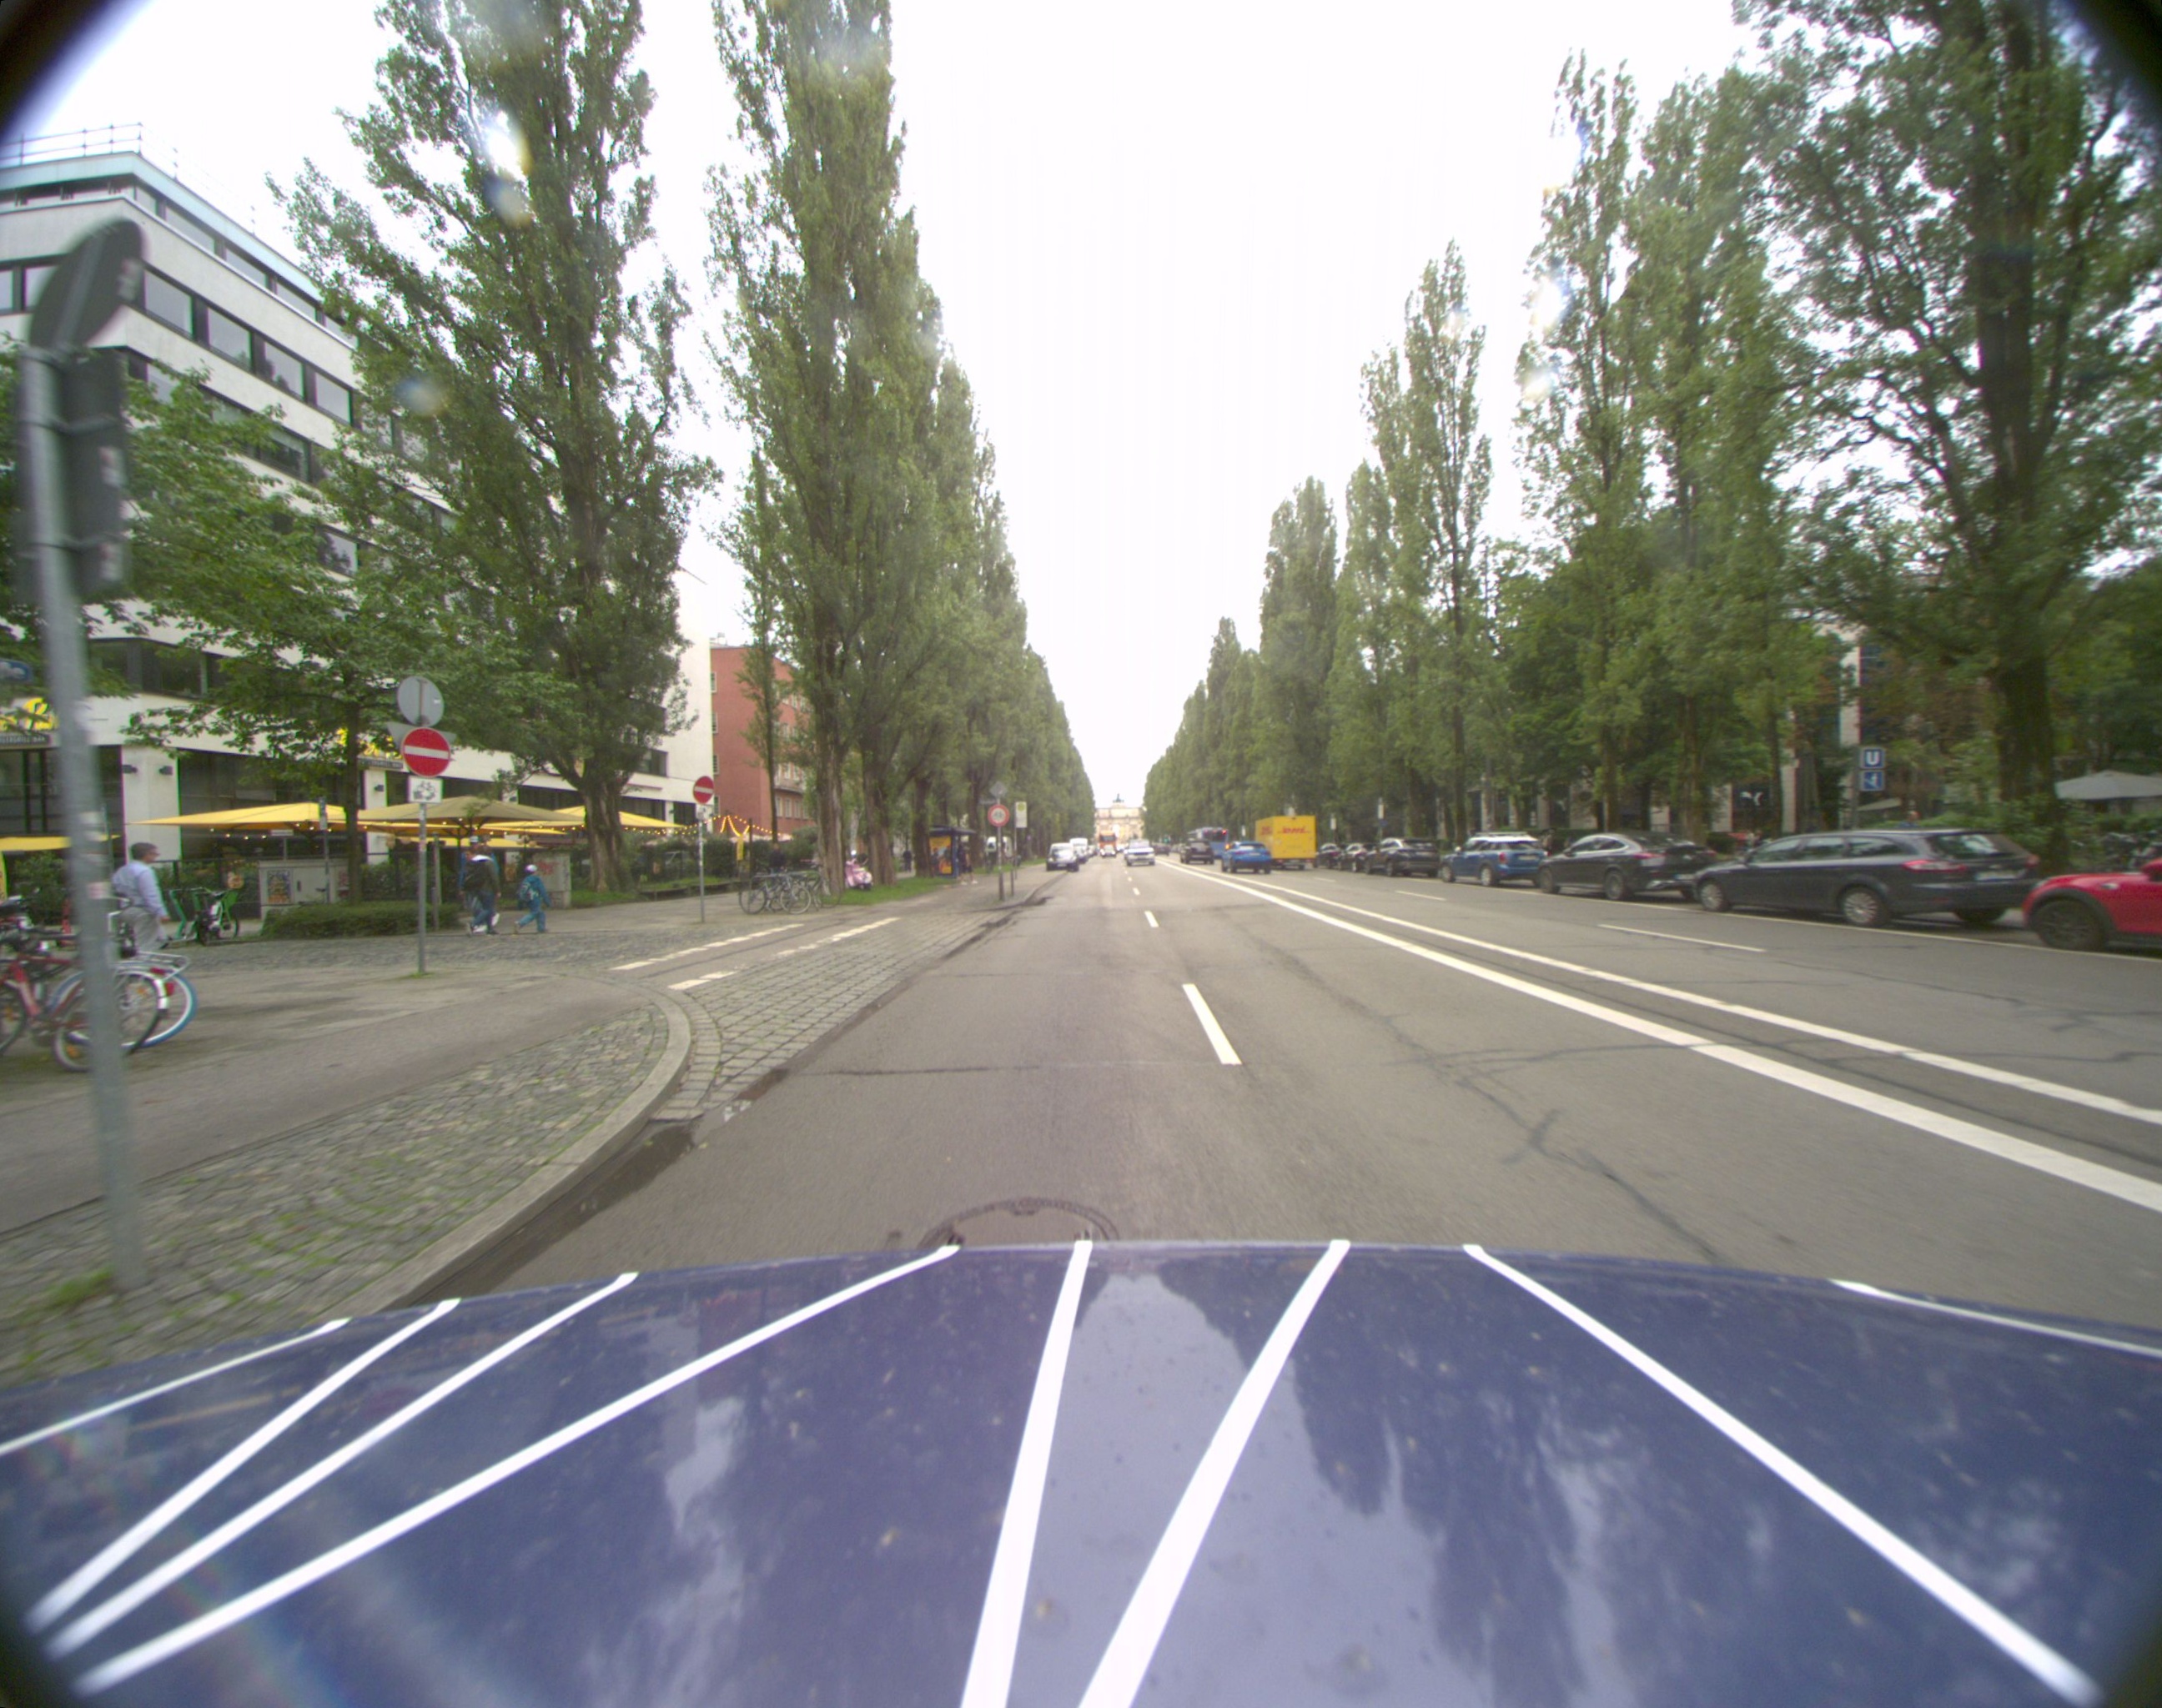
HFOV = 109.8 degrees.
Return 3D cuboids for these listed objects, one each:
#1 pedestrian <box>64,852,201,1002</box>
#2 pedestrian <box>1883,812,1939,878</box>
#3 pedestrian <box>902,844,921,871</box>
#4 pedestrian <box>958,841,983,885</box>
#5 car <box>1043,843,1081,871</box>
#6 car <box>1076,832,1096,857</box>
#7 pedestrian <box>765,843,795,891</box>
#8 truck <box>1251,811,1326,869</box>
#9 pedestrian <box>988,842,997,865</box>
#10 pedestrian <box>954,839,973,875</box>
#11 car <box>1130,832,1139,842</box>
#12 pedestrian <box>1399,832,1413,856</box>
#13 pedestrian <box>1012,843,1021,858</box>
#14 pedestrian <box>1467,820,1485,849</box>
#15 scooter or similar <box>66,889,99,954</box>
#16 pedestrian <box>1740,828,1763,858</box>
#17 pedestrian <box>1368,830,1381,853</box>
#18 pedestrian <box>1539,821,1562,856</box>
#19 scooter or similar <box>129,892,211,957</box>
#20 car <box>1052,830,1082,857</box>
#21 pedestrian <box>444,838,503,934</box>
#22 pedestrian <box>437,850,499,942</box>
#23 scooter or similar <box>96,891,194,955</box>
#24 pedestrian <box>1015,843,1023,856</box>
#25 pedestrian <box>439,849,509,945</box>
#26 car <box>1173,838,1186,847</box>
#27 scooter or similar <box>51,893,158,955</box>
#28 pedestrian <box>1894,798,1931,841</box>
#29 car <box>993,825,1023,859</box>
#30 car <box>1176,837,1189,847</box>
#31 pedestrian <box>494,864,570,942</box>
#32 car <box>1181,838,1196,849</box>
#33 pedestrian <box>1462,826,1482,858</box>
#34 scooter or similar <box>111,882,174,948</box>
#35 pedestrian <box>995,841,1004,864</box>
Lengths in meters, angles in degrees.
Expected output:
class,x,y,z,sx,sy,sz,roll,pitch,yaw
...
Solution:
class,x,y,z,sx,sy,sz,roll,pitch,yaw
pedestrian,-11.354,0.851,9.121,0.712,1.714,0.670,-1,1,2
pedestrian,22.074,-0.252,20.221,0.708,1.704,0.732,-2,2,3
pedestrian,-10.783,0.202,48.347,0.889,1.683,0.768,-1,2,6
pedestrian,-4.466,0.351,30.745,0.751,1.763,0.706,-1,2,7
car,-1.162,0.158,47.323,2.010,1.572,4.000,-2,1,3
car,0.622,-1.121,86.808,2.010,2.617,5.999,-2,1,2
pedestrian,-10.869,0.451,27.421,0.735,1.683,0.647,-1,2,6
truck,11.441,-0.777,42.559,2.599,2.891,7.080,-2,1,3
pedestrian,-6.772,-0.054,57.906,0.516,1.683,0.486,-1,2,6
pedestrian,-6.099,0.129,39.513,0.890,1.833,0.767,-2,2,-5
car,12.237,-3.830,173.279,2.010,2.118,4.000,-2,1,3
pedestrian,23.663,-0.732,55.297,0.708,1.704,0.732,-2,2,3
pedestrian,-7.508,-0.394,88.201,0.889,1.683,0.768,-1,2,6
pedestrian,23.855,-1.161,45.929,0.708,1.704,0.732,-2,2,3
scooter or similar,-20.601,1.377,15.665,1.354,1.265,0.328,-2,1,36
pedestrian,38.803,-0.621,43.977,0.731,1.704,0.709,-2,2,0
pedestrian,21.936,-0.948,56.792,0.708,1.704,0.732,-2,2,3
pedestrian,23.160,-0.752,37.502,0.708,1.704,0.732,-2,2,3
scooter or similar,-18.067,1.373,15.099,0.370,1.137,1.427,-2,1,-22
car,-0.981,-0.733,55.332,2.011,1.747,4.000,-2,-1,0
pedestrian,-12.434,0.643,15.575,0.704,1.897,0.644,-2,2,-22
pedestrian,-11.934,0.795,14.814,0.704,1.718,0.644,-2,2,-22
scooter or similar,-18.869,1.372,15.353,0.327,1.137,1.251,-2,1,2
pedestrian,-7.879,-0.577,96.634,0.889,1.683,0.768,-1,2,6
pedestrian,-11.154,0.773,13.975,0.663,1.691,0.691,-1,1,18
car,18.144,-2.158,140.055,1.998,1.712,4.348,0,1,3
scooter or similar,-20.244,1.436,15.779,1.253,1.173,0.389,-3,2,-30
pedestrian,34.236,-1.415,31.287,0.739,1.704,0.889,-3,2,-31
car,-6.805,-1.101,71.554,2.198,3.000,5.999,-2,1,0
car,17.679,-2.037,132.685,1.998,1.712,4.348,0,1,3
pedestrian,-10.368,0.909,14.374,0.817,1.411,0.771,-1,1,17
car,17.299,-1.639,122.474,1.998,1.712,4.815,0,1,3
pedestrian,21.759,-0.667,42.303,0.708,1.704,0.732,-2,2,3
scooter or similar,-19.703,1.256,15.971,0.328,1.266,1.248,-2,2,-29
pedestrian,-6.236,-0.123,57.914,0.516,1.683,0.486,-1,2,6
